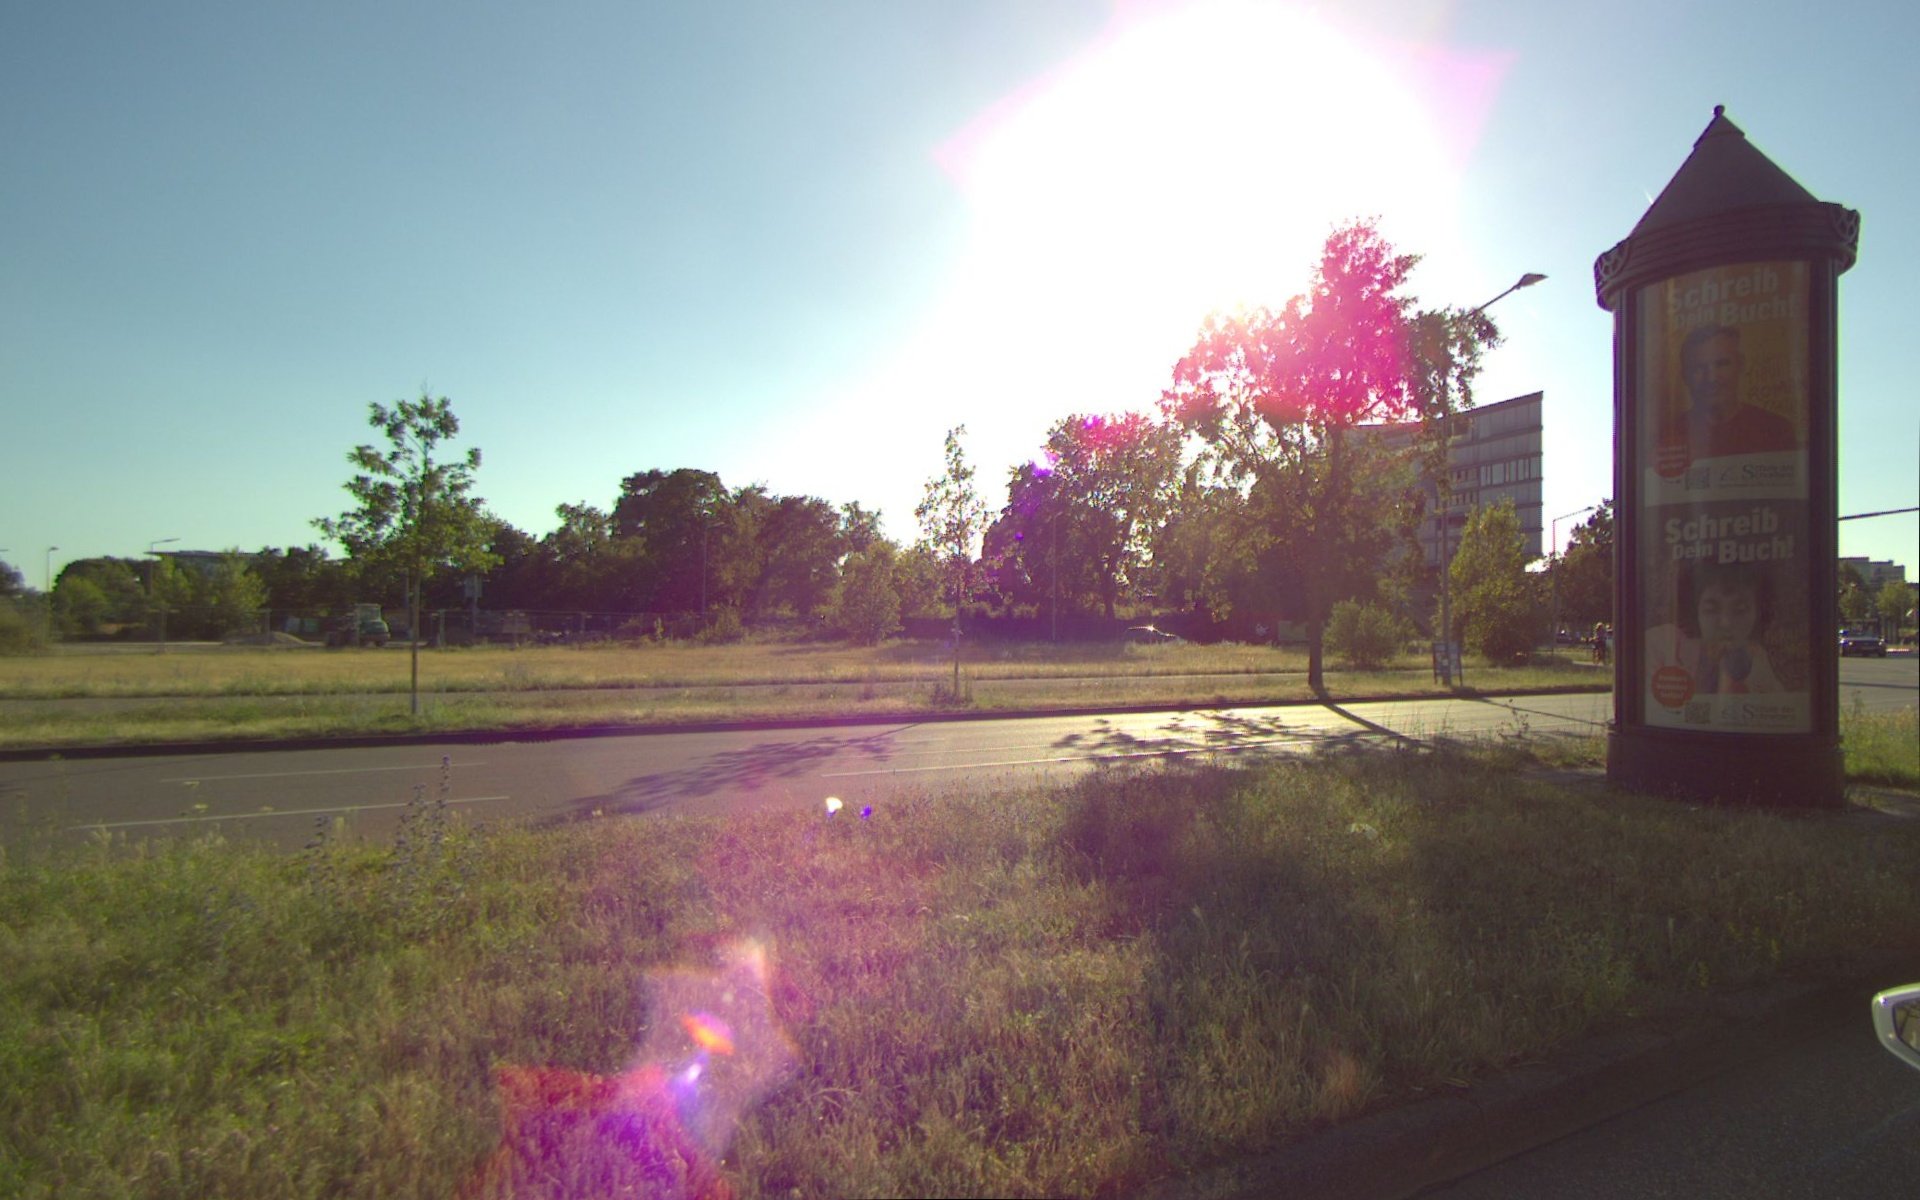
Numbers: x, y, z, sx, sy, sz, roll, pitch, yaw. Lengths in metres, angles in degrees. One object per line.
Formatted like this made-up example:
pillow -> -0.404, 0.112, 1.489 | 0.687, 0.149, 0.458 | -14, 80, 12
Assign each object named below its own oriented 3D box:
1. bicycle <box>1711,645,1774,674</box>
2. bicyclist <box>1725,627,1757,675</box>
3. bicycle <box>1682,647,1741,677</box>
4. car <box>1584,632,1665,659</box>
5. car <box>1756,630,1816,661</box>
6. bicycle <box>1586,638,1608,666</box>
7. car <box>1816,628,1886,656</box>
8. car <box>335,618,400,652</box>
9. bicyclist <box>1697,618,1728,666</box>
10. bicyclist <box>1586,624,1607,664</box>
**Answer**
bicycle -> 29.990, 2.265, 38.530 | 0.497, 1.033, 1.905 | 1, 0, -21
bicyclist -> 29.927, 1.949, 38.479 | 0.489, 1.812, 0.812 | 1, 0, -20
bicycle -> 28.575, 2.339, 38.222 | 0.496, 1.033, 1.910 | 1, 0, -13
car -> 39.188, 2.634, 59.278 | 3.910, 1.528, 1.843 | -1, -2, 34
car -> 40.996, 2.244, 49.938 | 1.642, 1.460, 3.610 | -2, -2, 29
bicycle -> 27.189, 2.214, 42.849 | 0.714, 1.133, 1.817 | -1, -2, 35
car -> 47.557, 2.232, 53.690 | 1.641, 1.394, 4.146 | -2, -2, 25
car -> -37.139, 2.181, 62.949 | 3.815, 2.040, 1.995 | -1, -2, 33
bicyclist -> 28.597, 1.588, 38.186 | 0.488, 1.794, 0.813 | 1, 0, -13
bicyclist -> 27.115, 1.873, 42.757 | 0.698, 1.688, 0.828 | -1, -1, 36
